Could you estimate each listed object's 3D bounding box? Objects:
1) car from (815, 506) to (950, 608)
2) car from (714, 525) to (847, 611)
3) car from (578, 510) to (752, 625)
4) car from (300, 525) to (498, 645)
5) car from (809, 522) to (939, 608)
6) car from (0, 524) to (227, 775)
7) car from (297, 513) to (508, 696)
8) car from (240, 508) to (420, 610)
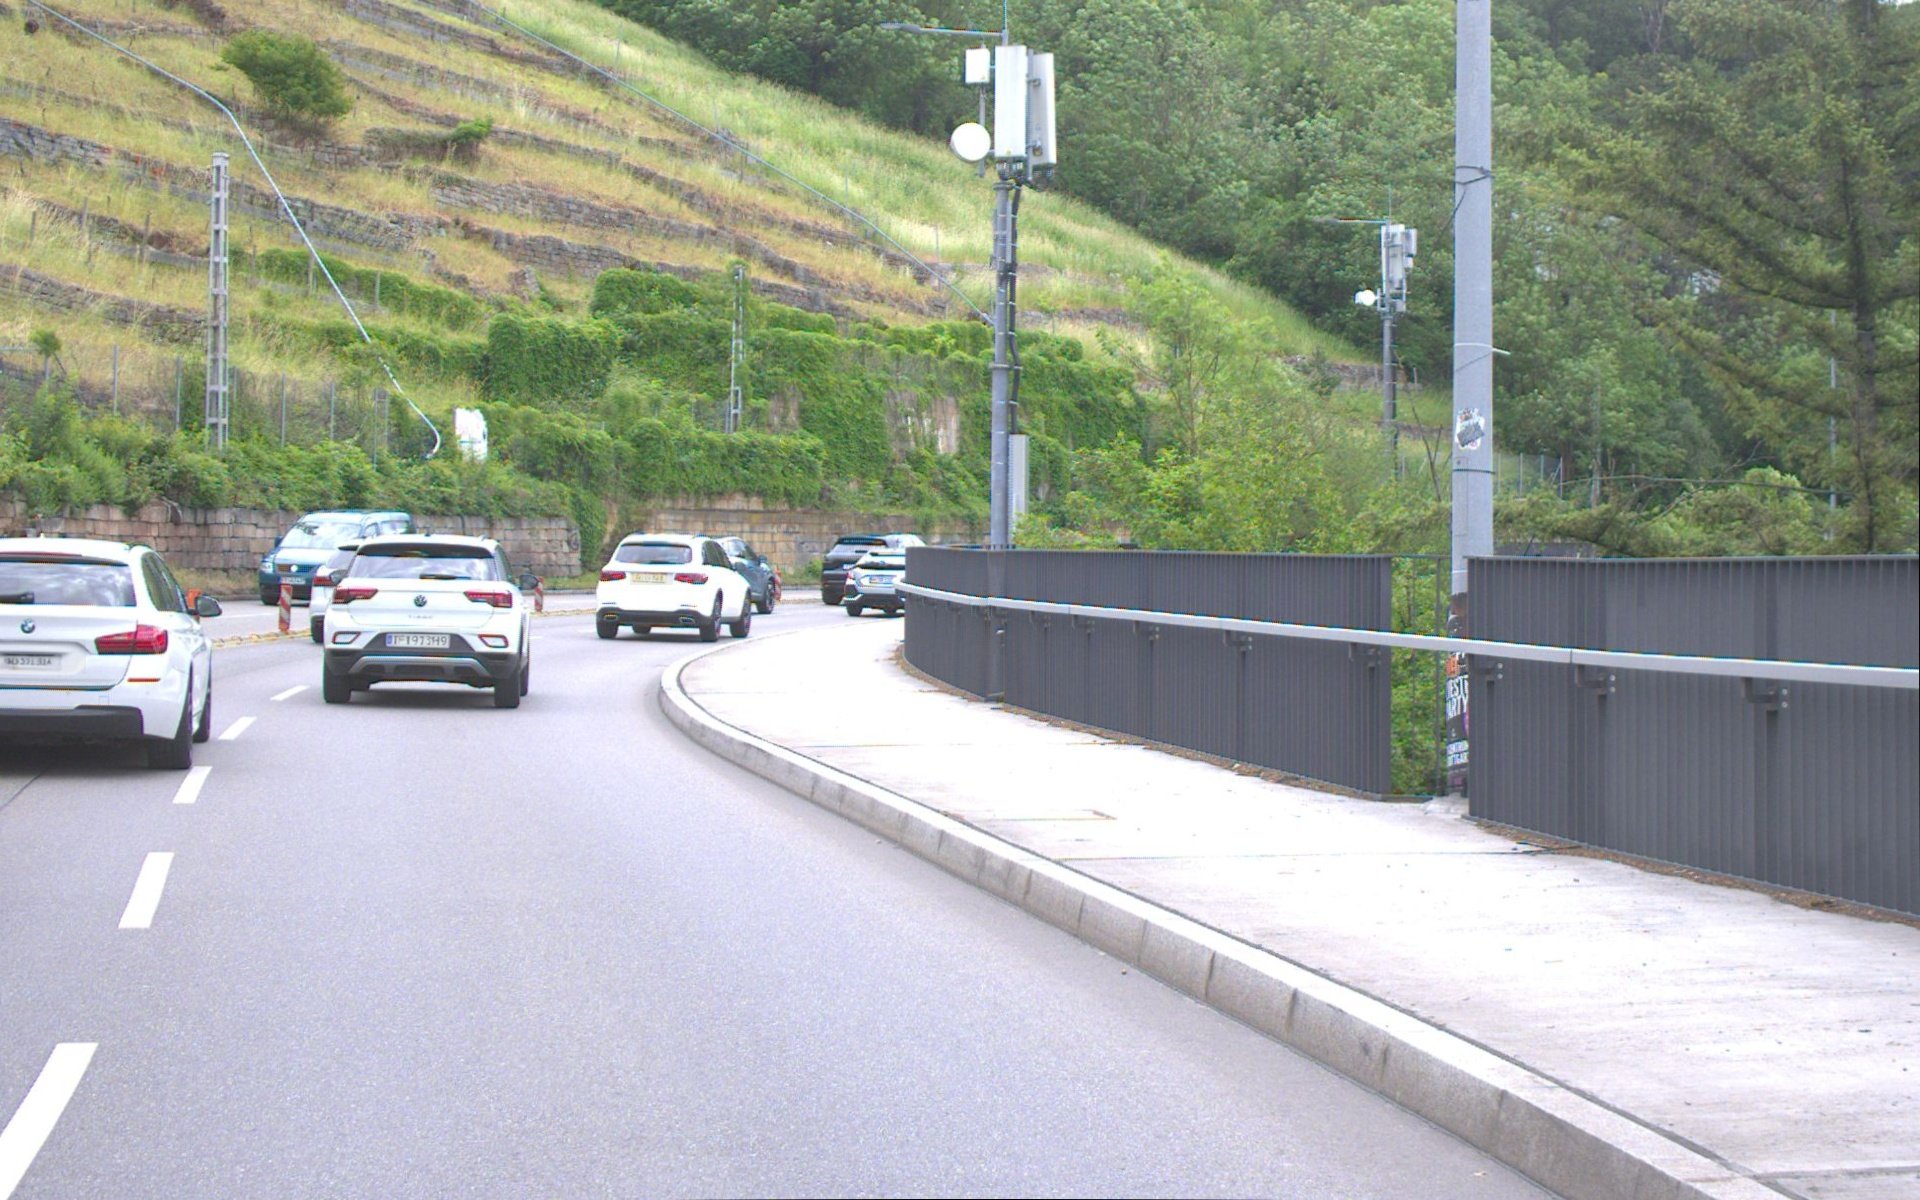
[{"bbox_3d":[-1.575,-0.864,71.390,1.994,2.007,3.998,-2,0,10],"label":"car"},{"bbox_3d":[-4.104,-0.713,79.375,1.871,1.756,3.996,-1,-2,16],"label":"car"},{"bbox_3d":[-4.573,-0.489,53.891,1.994,1.712,4.113,0,0,5],"label":"car"},{"bbox_3d":[-7.774,-0.215,48.067,1.993,1.498,4.667,-3,0,-1],"label":"car"},{"bbox_3d":[-1.937,-0.777,78.991,1.871,1.756,3.996,-1,-2,16],"label":"car"},{"bbox_3d":[-5.929,0.251,22.880,1.827,1.454,4.487,1,2,-9],"label":"car"},{"bbox_3d":[-5.188,0.037,32.329,1.827,1.600,4.001,0,0,-8],"label":"car"},{"bbox_3d":[-11.856,-0.792,65.046,1.851,1.776,4.732,3,1,8],"label":"car"}]
